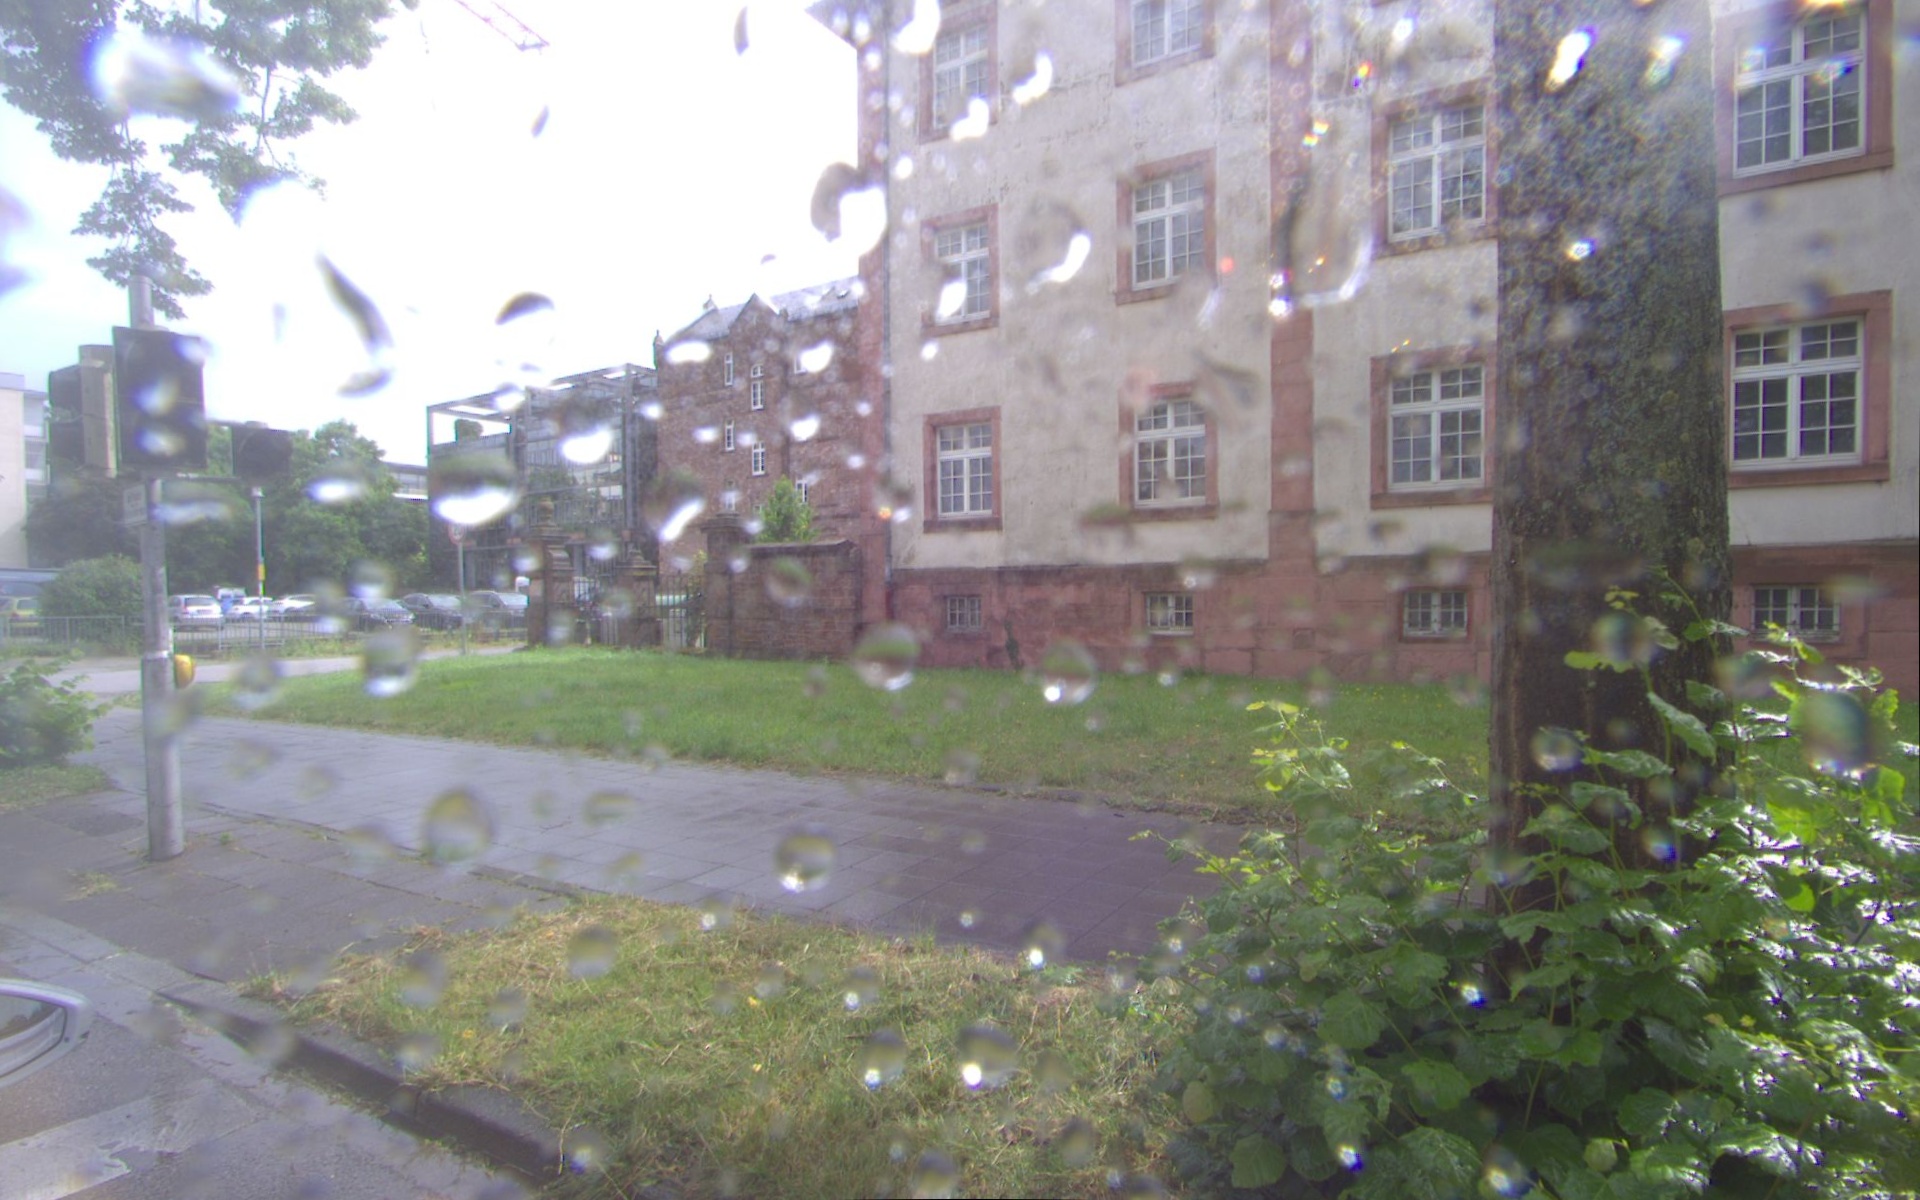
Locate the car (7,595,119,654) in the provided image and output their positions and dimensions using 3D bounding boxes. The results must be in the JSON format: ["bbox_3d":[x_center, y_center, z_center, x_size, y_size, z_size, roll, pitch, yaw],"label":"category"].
[{"bbox_3d":[-29.348,0.757,32.742,4.180,1.773,1.798,0,1,35],"label":"car"}]

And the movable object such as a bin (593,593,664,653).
[{"bbox_3d":[-8.490,0.569,25.654,1.371,1.477,1.103,0,3,34],"label":"movable object such as a bin"}]

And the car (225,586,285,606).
[{"bbox_3d":[-50.377,-0.304,71.591,1.489,1.416,3.214,0,1,36],"label":"car"}]

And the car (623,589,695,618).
[{"bbox_3d":[-16.937,0.188,56.474,1.649,1.545,3.656,0,1,34],"label":"car"}]

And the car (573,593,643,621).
[{"bbox_3d":[-20.696,0.388,58.954,1.649,1.598,3.656,0,1,34],"label":"car"}]

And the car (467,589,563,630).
[{"bbox_3d":[-19.642,0.395,44.141,4.363,1.702,1.847,0,1,35],"label":"car"}]

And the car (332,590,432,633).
[{"bbox_3d":[-22.471,0.428,38.868,4.367,1.547,1.822,0,1,38],"label":"car"}]

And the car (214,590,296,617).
[{"bbox_3d":[-42.086,0.204,59.825,1.617,1.506,3.654,0,1,36],"label":"car"}]

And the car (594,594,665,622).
[{"bbox_3d":[-19.048,0.504,57.810,1.649,1.505,3.659,0,-2,34],"label":"car"}]

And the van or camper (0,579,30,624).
[{"bbox_3d":[-47.373,0.068,47.257,2.291,2.160,4.743,1,1,36],"label":"van or camper"}]

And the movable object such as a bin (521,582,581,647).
[{"bbox_3d":[-9.618,0.322,23.533,1.081,1.477,0.797,1,3,34],"label":"movable object such as a bin"}]

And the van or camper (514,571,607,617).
[{"bbox_3d":[-23.707,-0.318,59.653,2.226,2.518,4.778,-1,-2,32],"label":"van or camper"}]

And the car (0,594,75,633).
[{"bbox_3d":[-36.223,0.506,39.190,3.370,1.468,1.605,0,1,35],"label":"car"}]

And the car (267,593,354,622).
[{"bbox_3d":[-35.855,0.402,55.329,1.617,1.506,3.654,0,1,36],"label":"car"}]

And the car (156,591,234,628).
[{"bbox_3d":[-33.046,0.380,43.227,3.668,1.506,1.643,0,1,36],"label":"car"}]

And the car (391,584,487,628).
[{"bbox_3d":[-21.325,0.215,40.942,4.368,1.702,1.845,0,1,39],"label":"car"}]

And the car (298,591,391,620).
[{"bbox_3d":[-33.453,0.292,54.516,1.649,1.485,3.962,0,1,34],"label":"car"}]

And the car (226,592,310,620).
[{"bbox_3d":[-40.246,0.322,58.277,1.617,1.506,3.654,0,1,36],"label":"car"}]

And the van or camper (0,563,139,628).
[{"bbox_3d":[-38.339,-0.160,42.483,2.145,2.588,4.986,-1,0,34],"label":"van or camper"}]
